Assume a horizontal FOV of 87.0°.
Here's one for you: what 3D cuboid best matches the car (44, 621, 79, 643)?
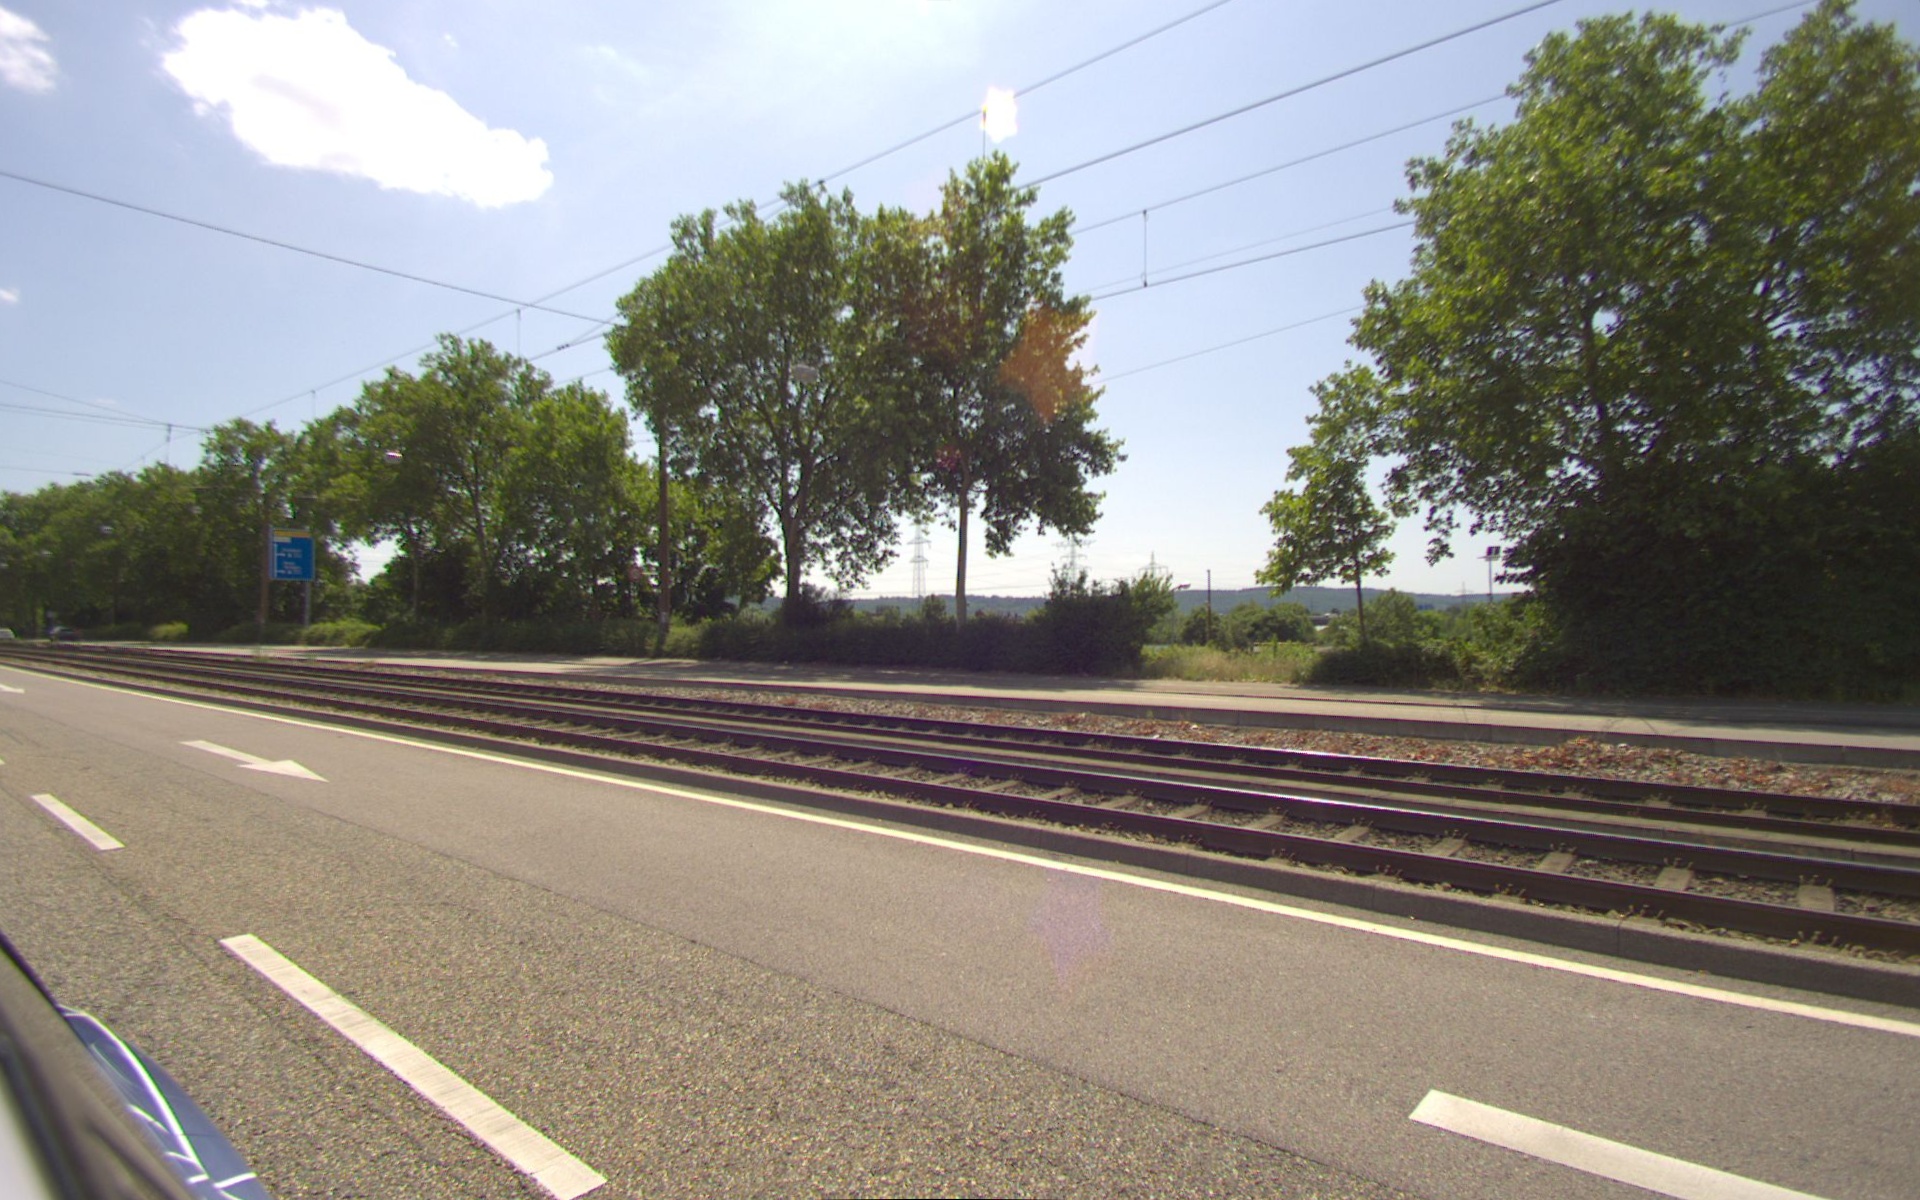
[{"bbox_3d":[-82.926,2.979,93.345,4.410,1.932,1.972,-2,-1,42],"label":"car"}]

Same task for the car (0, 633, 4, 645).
[{"bbox_3d":[-113.565,4.561,118.686,3.883,1.427,1.802,-2,-4,43],"label":"car"}]
